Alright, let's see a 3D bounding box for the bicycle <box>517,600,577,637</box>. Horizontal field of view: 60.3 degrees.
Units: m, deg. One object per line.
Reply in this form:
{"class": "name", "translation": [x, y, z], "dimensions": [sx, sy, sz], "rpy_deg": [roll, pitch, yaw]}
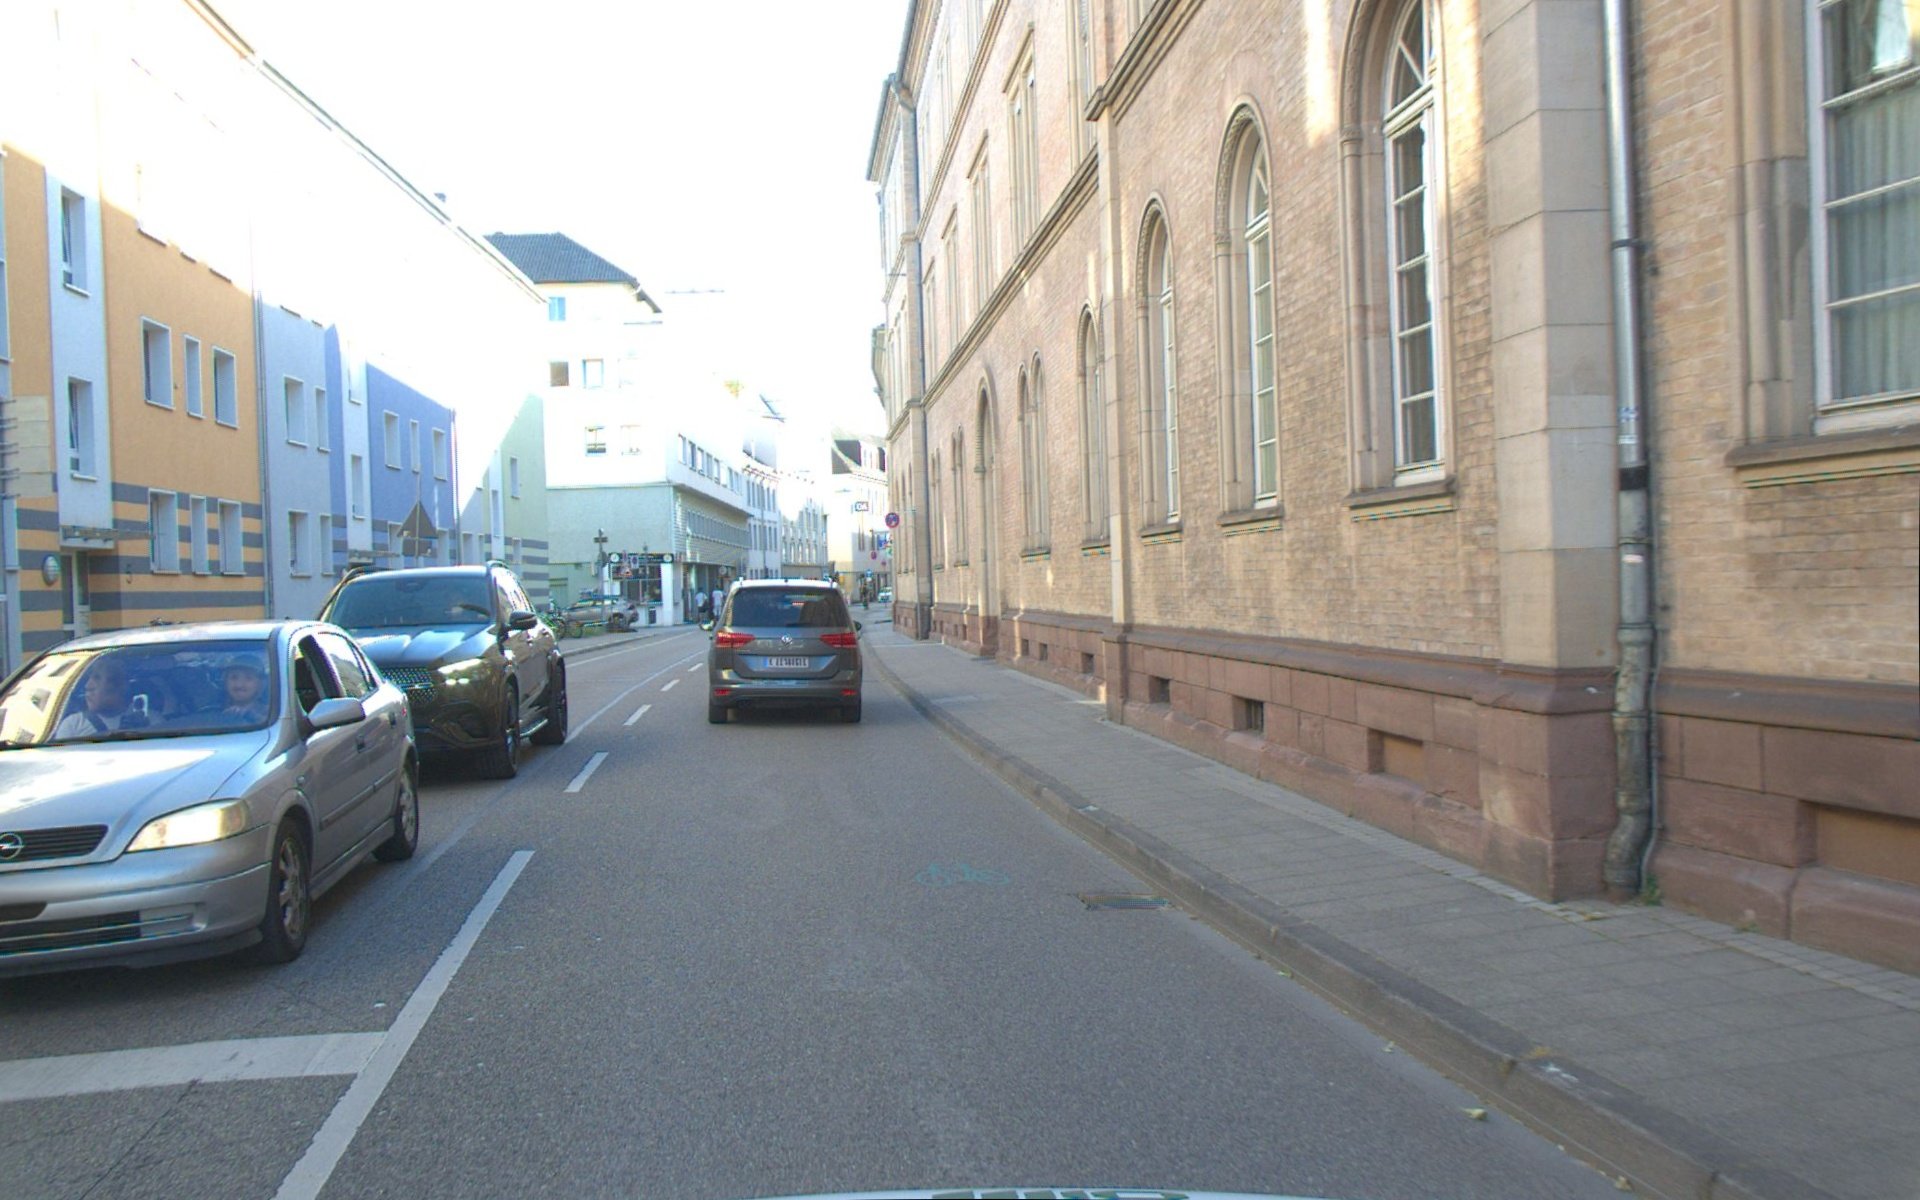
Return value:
{"class": "bicycle", "translation": [-13.841, 0.622, 55.450], "dimensions": [1.900, 1.200, 0.610], "rpy_deg": [1, -1, -20]}

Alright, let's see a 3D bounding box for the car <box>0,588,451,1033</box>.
{"class": "car", "translation": [-3.723, 0.761, 7.884], "dimensions": [1.708, 1.511, 4.130], "rpy_deg": [-4, 1, -8]}

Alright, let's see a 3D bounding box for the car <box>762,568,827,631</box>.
{"class": "car", "translation": [-5.372, -0.044, 53.892], "dimensions": [1.955, 1.914, 3.996], "rpy_deg": [-2, 1, -5]}

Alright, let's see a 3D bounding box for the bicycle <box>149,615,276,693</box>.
{"class": "bicycle", "translation": [-11.966, 0.853, 26.509], "dimensions": [1.722, 1.165, 0.648], "rpy_deg": [-2, 0, -14]}

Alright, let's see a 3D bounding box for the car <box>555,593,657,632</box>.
{"class": "car", "translation": [-15.555, 0.541, 72.812], "dimensions": [4.016, 1.468, 1.947], "rpy_deg": [-2, 1, -2]}

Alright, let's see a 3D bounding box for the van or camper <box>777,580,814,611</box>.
{"class": "van or camper", "translation": [-11.554, -0.345, 116.455], "dimensions": [1.952, 2.049, 4.484], "rpy_deg": [-2, 0, 2]}

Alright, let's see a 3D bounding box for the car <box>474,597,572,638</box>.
{"class": "car", "translation": [-17.618, 0.683, 66.786], "dimensions": [3.430, 1.468, 1.813], "rpy_deg": [-2, 1, -2]}

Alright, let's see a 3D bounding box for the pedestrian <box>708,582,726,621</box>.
{"class": "pedestrian", "translation": [-11.915, 0.073, 81.119], "dimensions": [0.544, 1.861, 0.731], "rpy_deg": [-2, 0, 20]}

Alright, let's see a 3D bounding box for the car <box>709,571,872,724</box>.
{"class": "car", "translation": [-2.099, 0.509, 19.922], "dimensions": [1.729, 1.635, 3.993], "rpy_deg": [1, 0, -8]}

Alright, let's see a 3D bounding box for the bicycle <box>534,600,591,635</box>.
{"class": "bicycle", "translation": [-13.671, 0.605, 56.935], "dimensions": [1.895, 1.200, 0.611], "rpy_deg": [1, -1, -13]}

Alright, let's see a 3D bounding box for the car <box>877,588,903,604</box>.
{"class": "car", "translation": [-6.901, -0.398, 163.791], "dimensions": [1.697, 1.493, 4.004], "rpy_deg": [-2, 0, 10]}

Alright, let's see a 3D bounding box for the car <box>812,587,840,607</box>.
{"class": "car", "translation": [-10.786, -0.239, 133.217], "dimensions": [1.827, 1.494, 3.834], "rpy_deg": [-2, 1, 1]}

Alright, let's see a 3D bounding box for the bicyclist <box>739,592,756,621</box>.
{"class": "bicyclist", "translation": [-11.728, 0.358, 91.273], "dimensions": [0.814, 1.589, 0.759], "rpy_deg": [-2, 0, -4]}

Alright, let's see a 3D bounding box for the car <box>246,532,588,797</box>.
{"class": "car", "translation": [-4.651, 0.464, 15.001], "dimensions": [1.864, 1.866, 5.087], "rpy_deg": [-4, 1, -7]}

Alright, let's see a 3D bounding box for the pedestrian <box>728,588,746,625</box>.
{"class": "pedestrian", "translation": [-11.368, 0.341, 84.300], "dimensions": [0.544, 1.861, 0.731], "rpy_deg": [-2, 0, 20]}
